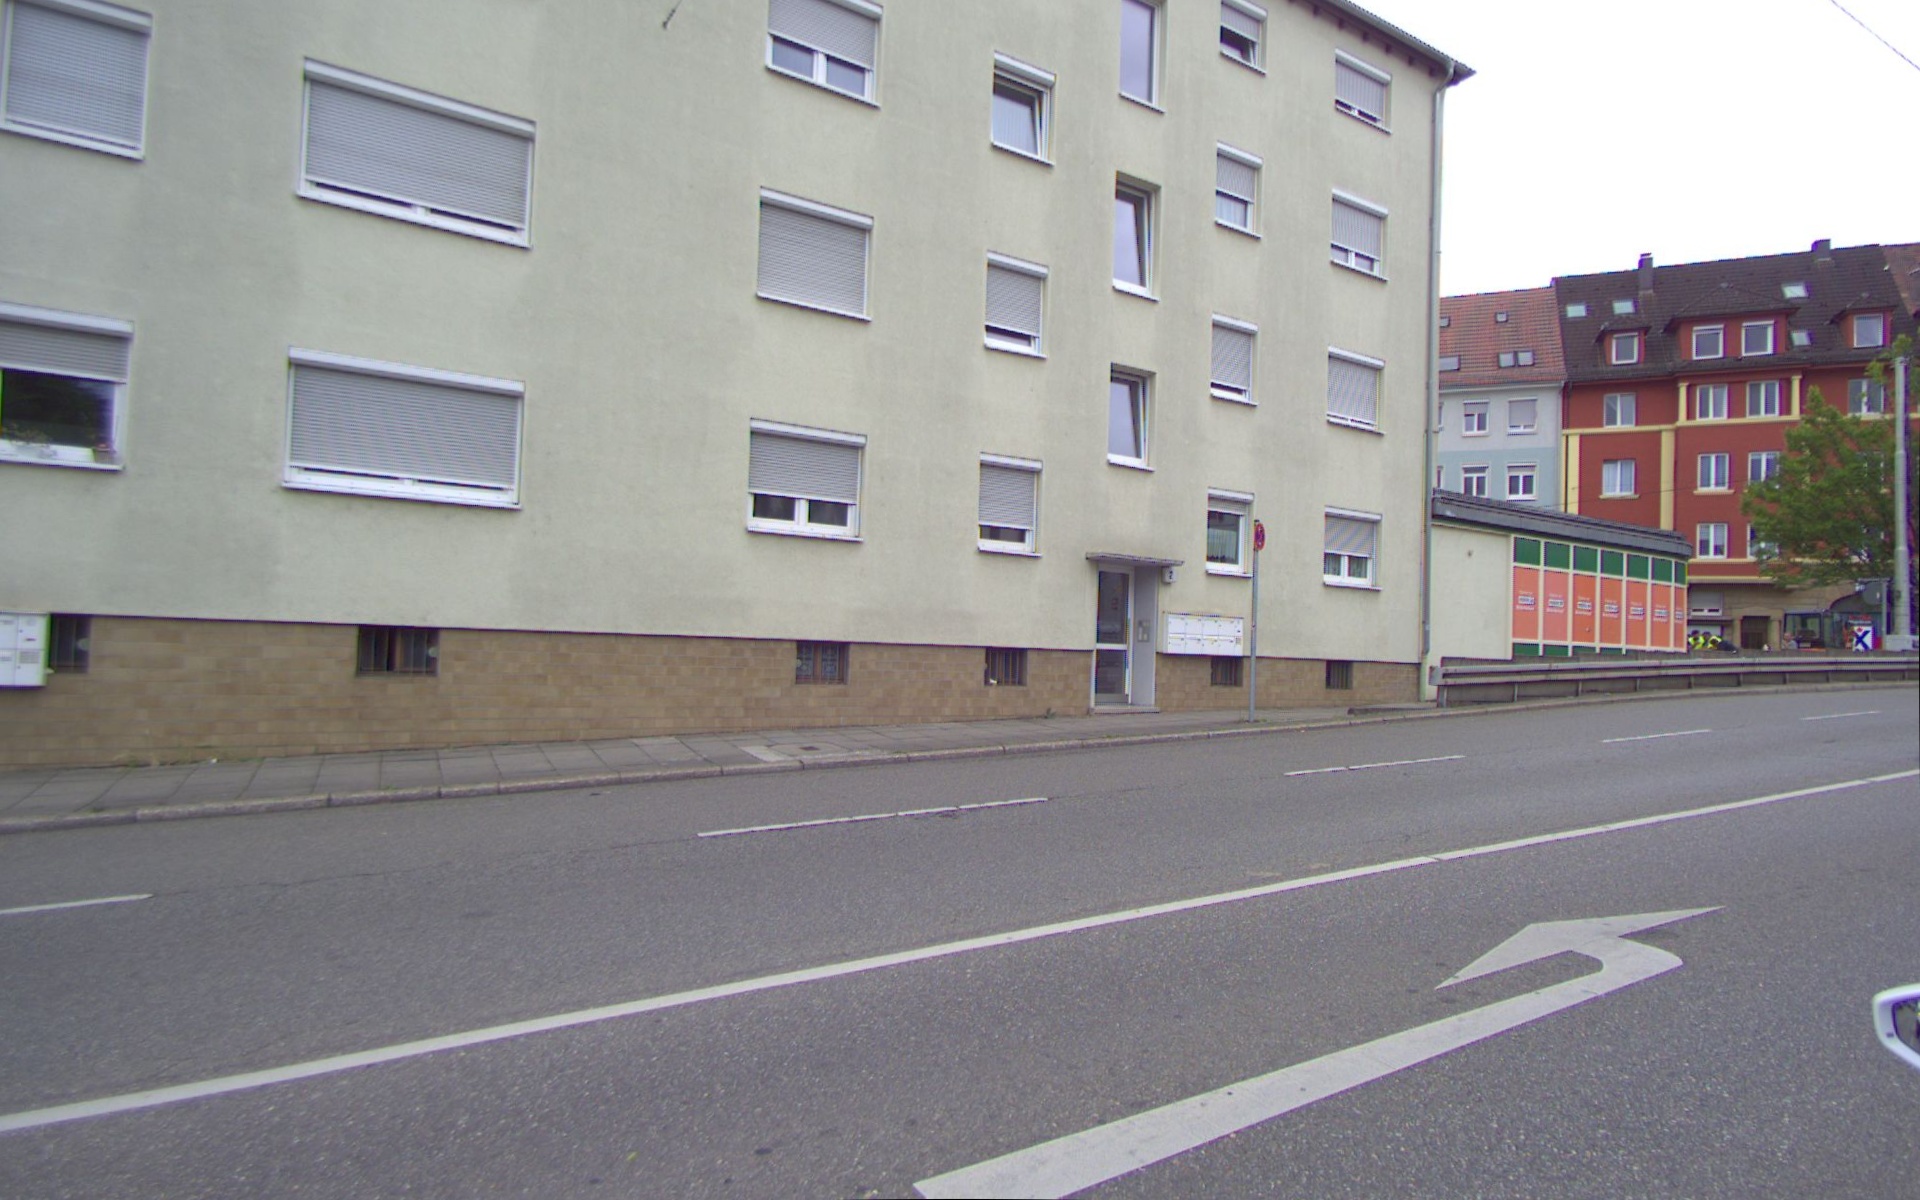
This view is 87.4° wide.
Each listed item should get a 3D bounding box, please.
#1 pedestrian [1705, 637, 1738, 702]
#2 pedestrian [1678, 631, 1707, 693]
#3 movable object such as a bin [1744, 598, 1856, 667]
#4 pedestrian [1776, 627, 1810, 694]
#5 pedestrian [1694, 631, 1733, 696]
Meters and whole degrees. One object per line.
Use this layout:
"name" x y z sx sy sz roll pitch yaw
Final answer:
"pedestrian" 20.657 1.879 27.259 0.539 1.722 0.558 1 1 -39
"pedestrian" 21.526 1.810 29.534 0.467 1.753 0.543 2 1 16
"movable object such as a bin" 24.366 0.917 29.097 3.969 1.795 1.885 1 1 -42
"pedestrian" 22.350 1.609 26.962 0.533 1.753 0.592 2 1 28
"pedestrian" 21.368 1.800 28.493 0.605 1.785 0.573 2 1 7
